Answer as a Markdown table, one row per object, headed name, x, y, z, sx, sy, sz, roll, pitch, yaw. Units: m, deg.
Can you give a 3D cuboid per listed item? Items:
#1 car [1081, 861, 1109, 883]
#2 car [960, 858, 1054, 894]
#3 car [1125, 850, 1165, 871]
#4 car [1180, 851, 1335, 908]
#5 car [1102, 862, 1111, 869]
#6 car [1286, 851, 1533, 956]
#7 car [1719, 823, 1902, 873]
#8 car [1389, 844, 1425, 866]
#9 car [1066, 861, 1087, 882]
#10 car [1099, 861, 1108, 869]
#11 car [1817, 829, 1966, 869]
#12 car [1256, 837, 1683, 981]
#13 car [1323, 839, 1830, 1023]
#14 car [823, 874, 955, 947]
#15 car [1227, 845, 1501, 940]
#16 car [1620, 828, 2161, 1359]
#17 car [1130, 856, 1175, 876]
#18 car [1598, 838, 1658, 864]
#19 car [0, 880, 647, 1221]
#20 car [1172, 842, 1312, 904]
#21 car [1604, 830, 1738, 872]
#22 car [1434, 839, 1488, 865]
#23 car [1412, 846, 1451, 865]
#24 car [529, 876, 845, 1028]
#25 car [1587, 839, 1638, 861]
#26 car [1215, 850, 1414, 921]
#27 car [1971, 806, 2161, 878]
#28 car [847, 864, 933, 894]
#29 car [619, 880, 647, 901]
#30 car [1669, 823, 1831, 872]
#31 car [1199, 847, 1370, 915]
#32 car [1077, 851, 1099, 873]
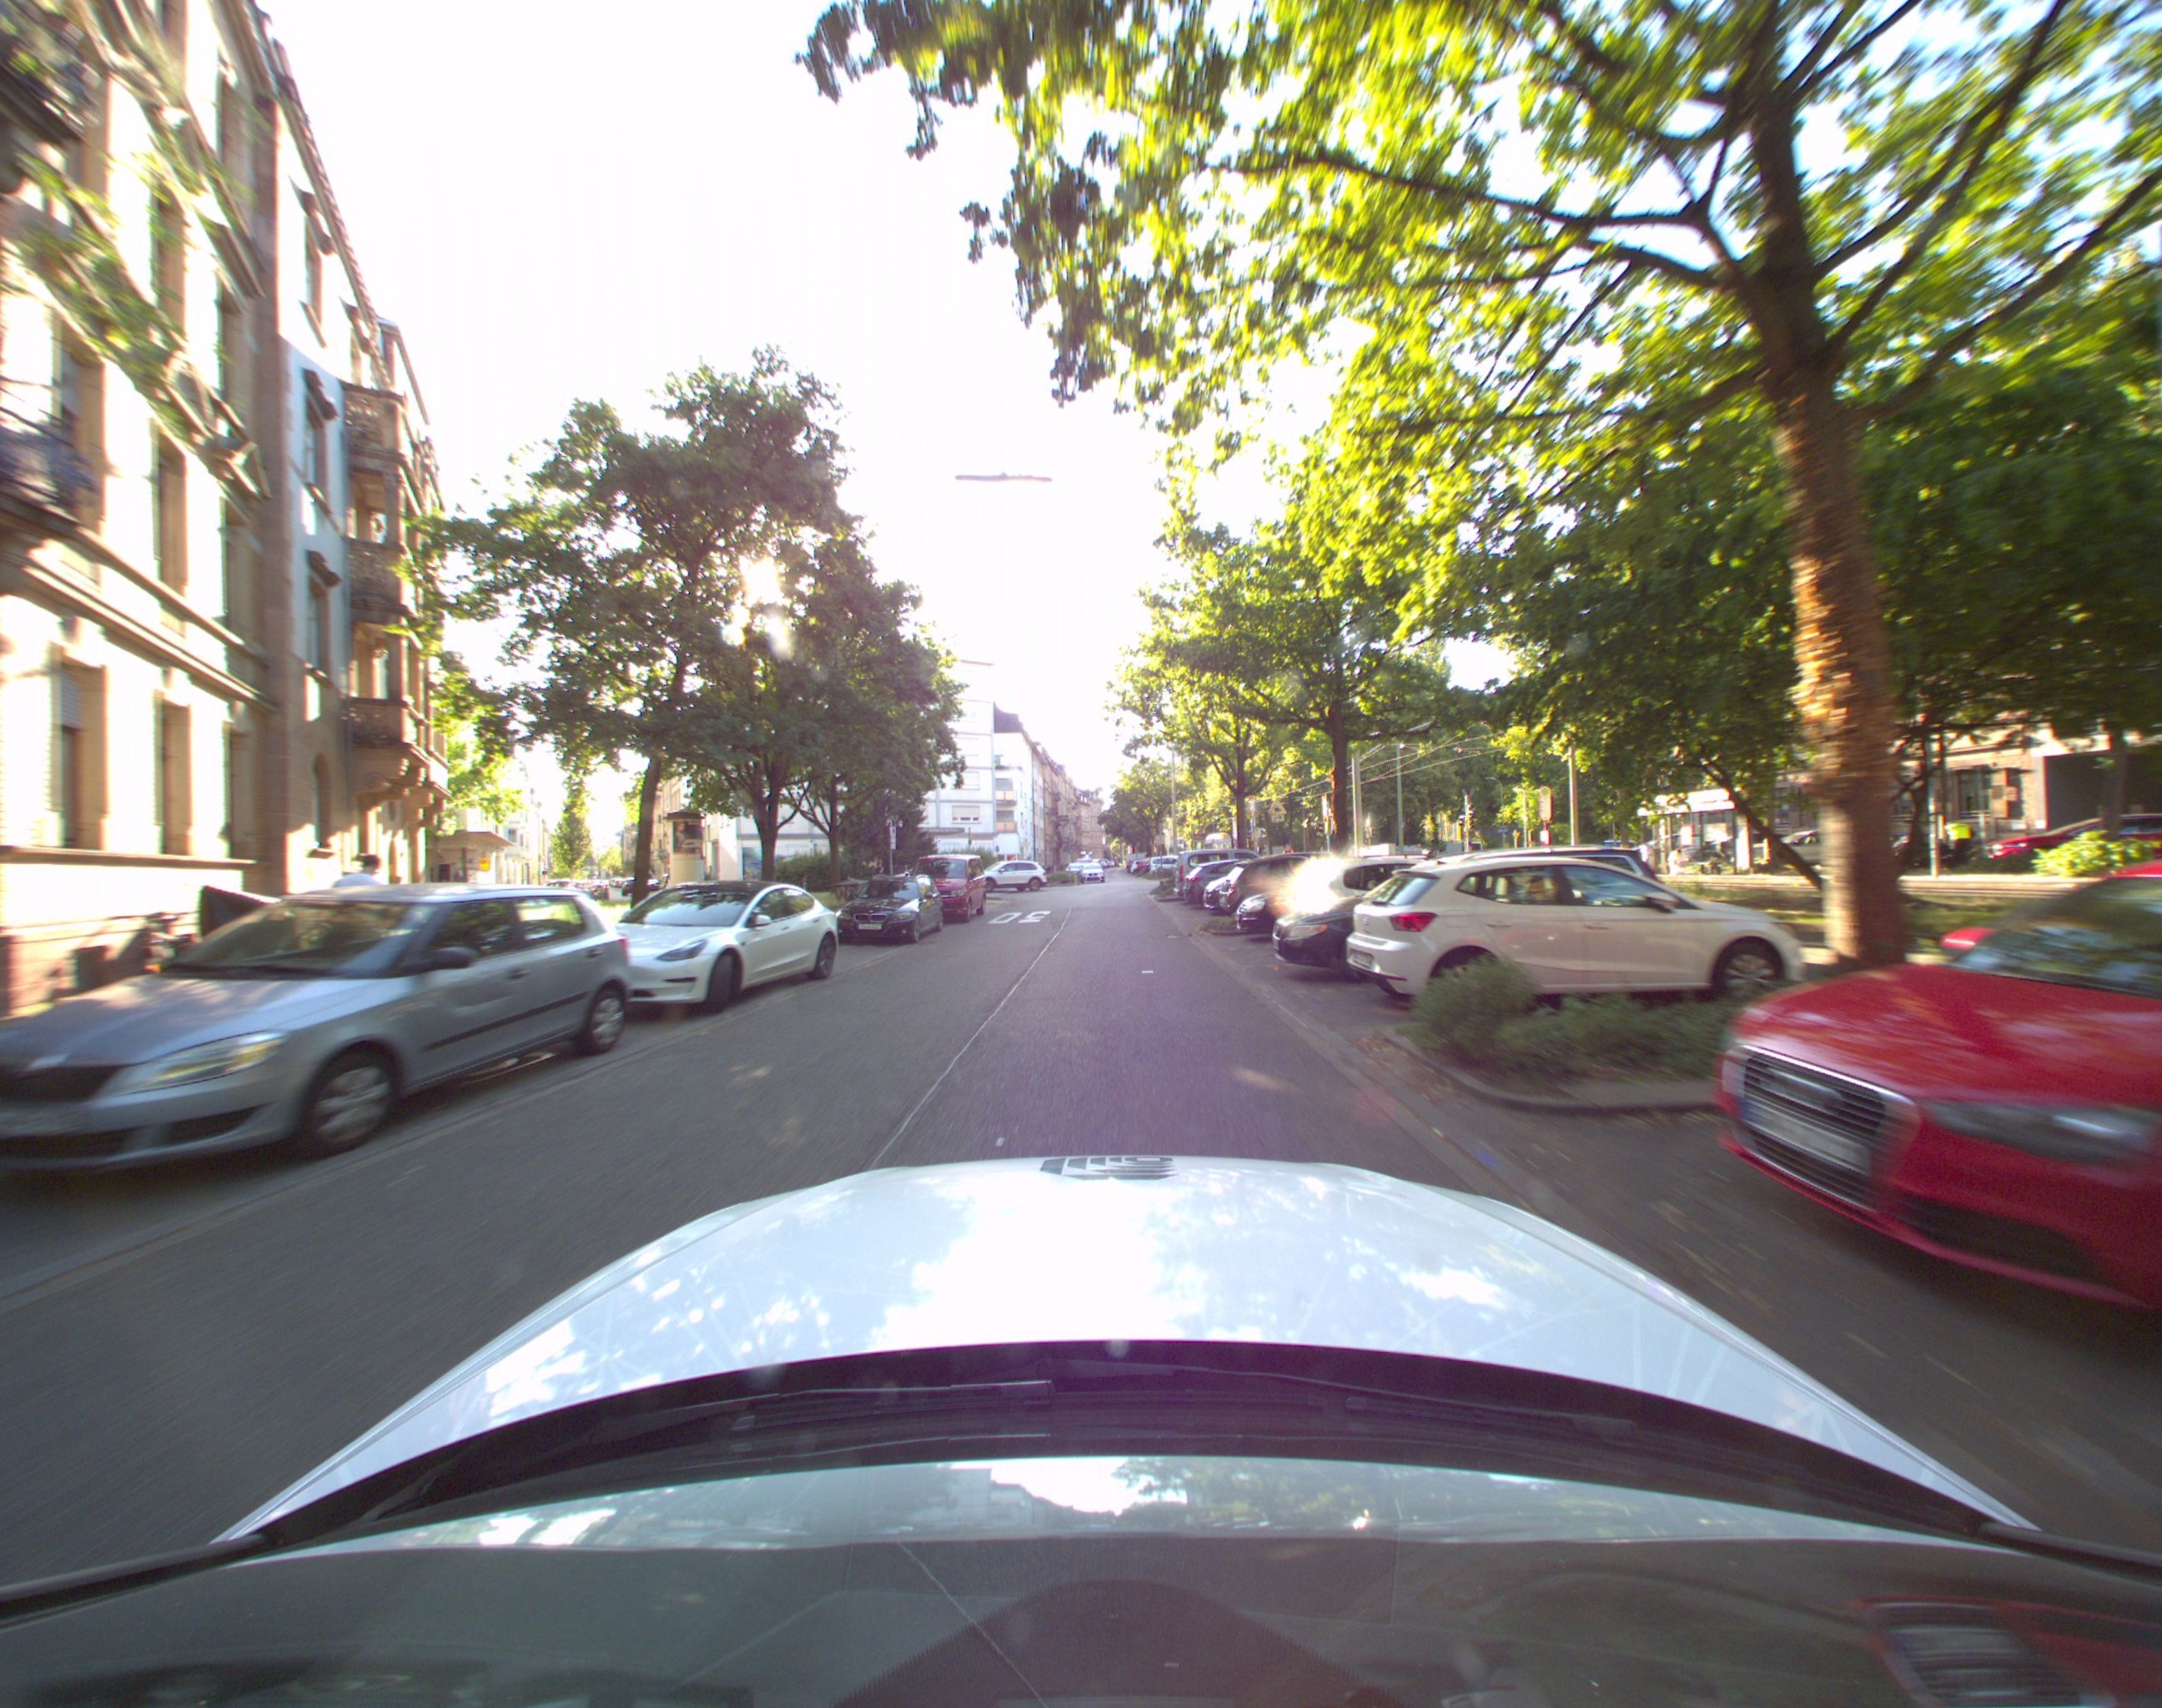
| name | x | y | z | sx | sy | sz | roll | pitch | yaw |
| --- | --- | --- | --- | --- | --- | --- | --- | --- | --- |
| car | 1.007 | 1.320 | 60.451 | 1.706 | 1.446 | 3.996 | -3 | 0 | -3 |
| car | -3.899 | 1.141 | 43.179 | 4.546 | 1.647 | 1.924 | -2 | -1 | -30 |
| car | 9.496 | 0.972 | 121.189 | 5.201 | 2.571 | 2.288 | -7 | -1 | 30 |
| car | 5.480 | 0.805 | 25.729 | 4.518 | 1.572 | 1.952 | -2 | -2 | 4 |
| car | 6.224 | 2.807 | 195.745 | 1.702 | 1.446 | 4.007 | -3 | 0 | 6 |
| car | 5.263 | 0.769 | 13.419 | 3.383 | 1.514 | 1.721 | -2 | 0 | 4 |
| car | 26.185 | -0.199 | 29.440 | 4.497 | 1.487 | 1.940 | -3 | -1 | 23 |
| car | 30.850 | 0.114 | 77.107 | 1.568 | 1.903 | 3.897 | -2 | -1 | -4 |
| car | -0.402 | 1.557 | 73.654 | 1.705 | 1.673 | 3.999 | -3 | 0 | 0 |
| car | 4.863 | 2.390 | 177.460 | 1.703 | 1.446 | 4.005 | -3 | 0 | 5 |
| car | 32.701 | -0.168 | 33.034 | 1.734 | 1.490 | 4.156 | 0 | -1 | -5 |
| car | 4.871 | 0.693 | 10.842 | 4.680 | 1.572 | 2.002 | -2 | -2 | 4 |
| car | 4.673 | 0.699 | 8.140 | 3.972 | 1.460 | 1.685 | -3 | -1 | 2 |
| car | -4.318 | 1.218 | 19.029 | 1.768 | 1.434 | 4.275 | 0 | 0 | 4 |
| car | 5.346 | 0.744 | 15.967 | 4.680 | 1.572 | 2.002 | -2 | -2 | 4 |
| car | 4.619 | 0.612 | 3.085 | 3.972 | 1.423 | 1.685 | -3 | -1 | 2 |
| car | 7.510 | 1.238 | 85.418 | 4.186 | 1.651 | 1.870 | -7 | -1 | 38 |
| car | 36.799 | -0.225 | 54.766 | 4.202 | 1.656 | 1.902 | -1 | 2 | -33 |
| car | -4.951 | 0.974 | 5.729 | 1.678 | 1.475 | 3.882 | 0 | 0 | 0 |
| car | 5.525 | 0.660 | 28.410 | 4.518 | 1.914 | 1.952 | -2 | -2 | 4 |
| car | 25.271 | -0.116 | 35.067 | 4.368 | 1.687 | 1.751 | -1 | 0 | 20 |
| car | 31.565 | -0.121 | 67.777 | 1.942 | 2.003 | 4.649 | -2 | -1 | -6 |
| car | 31.128 | 0.168 | 72.439 | 1.568 | 1.637 | 3.705 | -2 | -1 | -5 |
| car | -4.725 | 1.069 | 10.604 | 1.768 | 1.475 | 4.275 | 0 | 0 | 4 |
| car | 42.265 | -0.324 | 64.752 | 4.306 | 1.614 | 1.814 | -2 | 2 | -32 |
| car | 5.816 | 0.795 | 20.759 | 4.518 | 1.572 | 1.952 | -2 | -2 | 4 |
| car | 27.283 | -0.345 | 21.646 | 4.493 | 1.722 | 1.942 | -3 | -1 | 32 |
| car | -10.620 | 1.365 | 45.465 | 4.262 | 1.450 | 1.926 | -2 | 0 | 4 |
| car | -40.314 | 3.267 | 73.195 | 2.007 | 1.784 | 3.960 | -2 | -1 | -31 |
| car | 26.162 | -0.249 | 32.040 | 4.497 | 1.634 | 1.940 | -3 | -1 | 23 |
| car | 5.654 | 0.754 | 23.103 | 4.416 | 1.691 | 1.952 | -2 | -2 | 4 |
| car | 1.020 | 1.062 | 114.865 | 2.540 | 2.887 | 5.488 | -3 | 0 | 5 |
